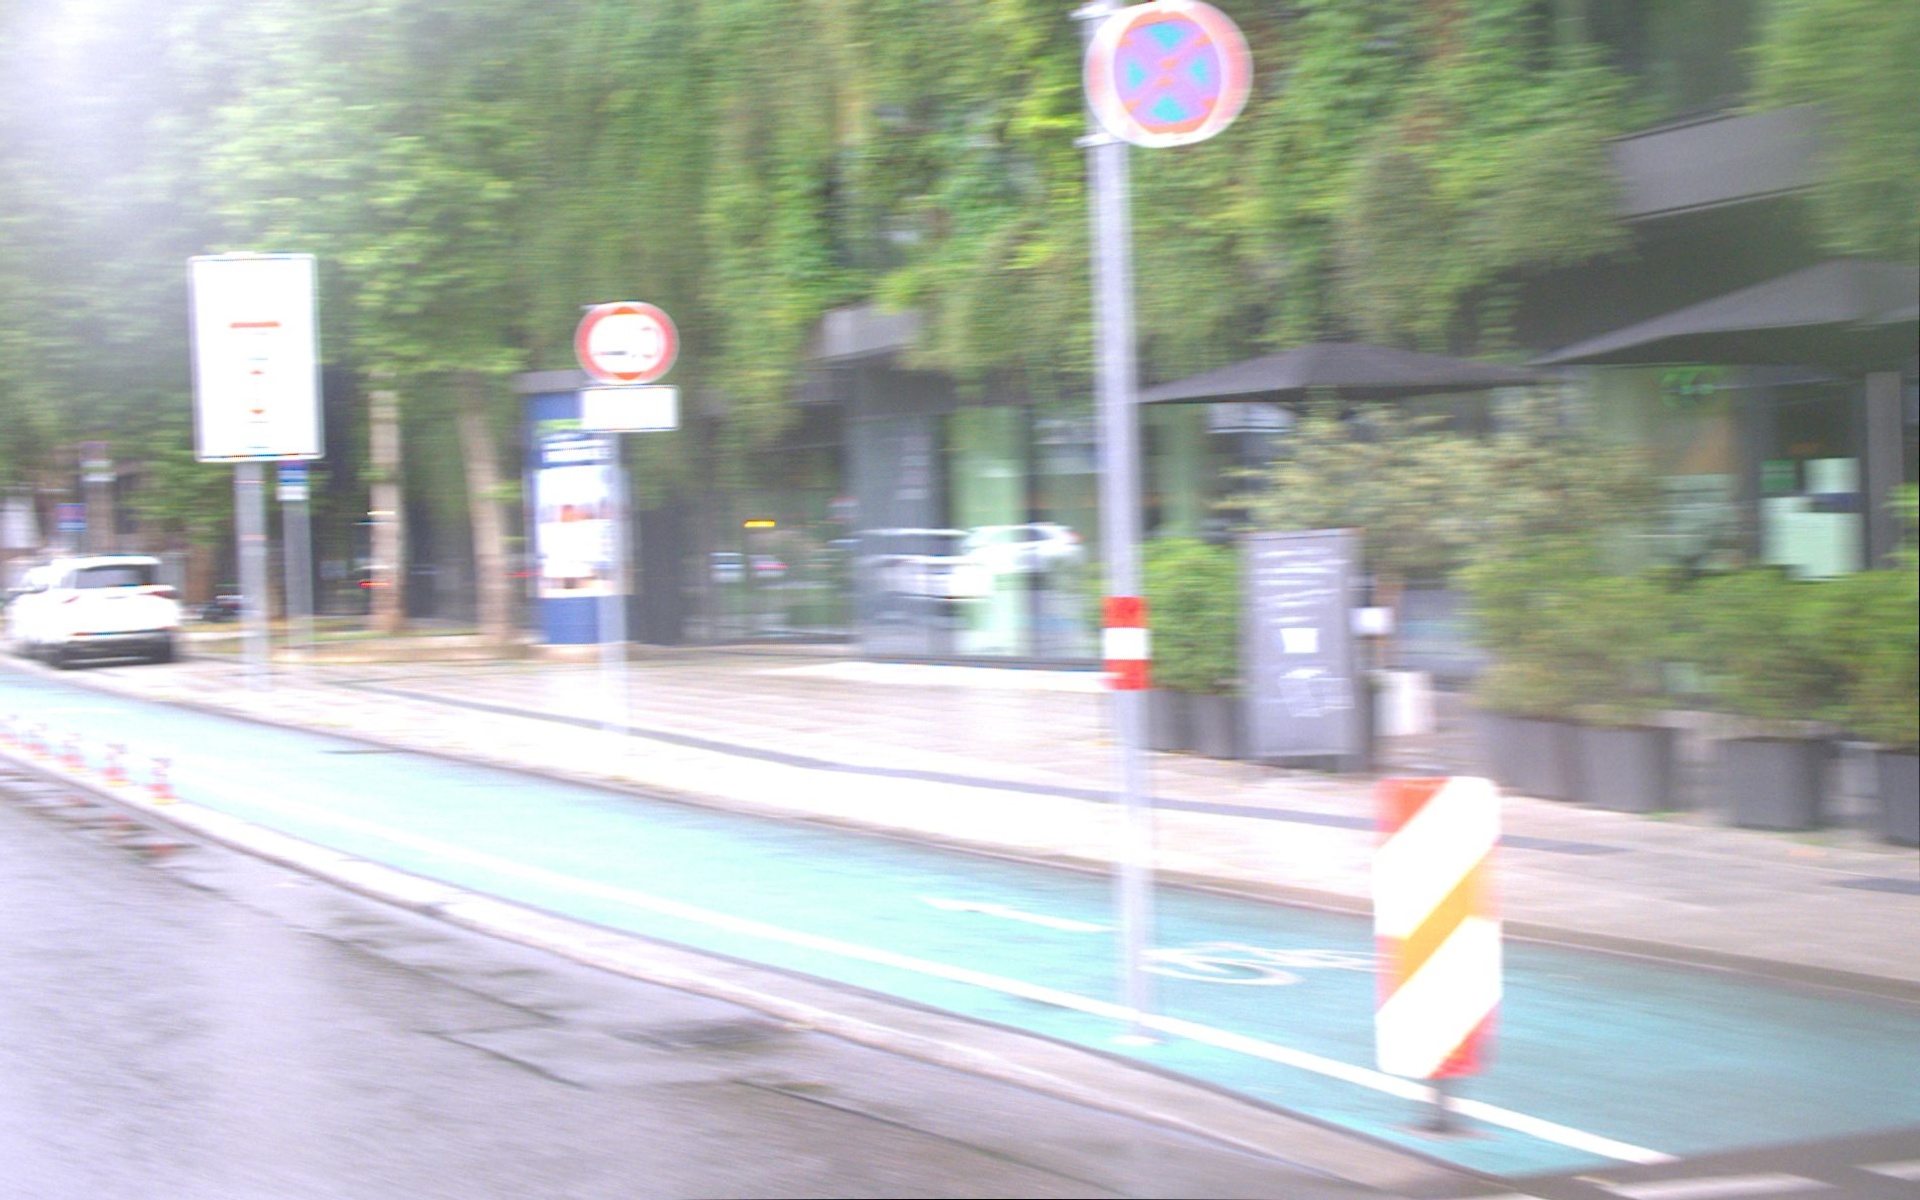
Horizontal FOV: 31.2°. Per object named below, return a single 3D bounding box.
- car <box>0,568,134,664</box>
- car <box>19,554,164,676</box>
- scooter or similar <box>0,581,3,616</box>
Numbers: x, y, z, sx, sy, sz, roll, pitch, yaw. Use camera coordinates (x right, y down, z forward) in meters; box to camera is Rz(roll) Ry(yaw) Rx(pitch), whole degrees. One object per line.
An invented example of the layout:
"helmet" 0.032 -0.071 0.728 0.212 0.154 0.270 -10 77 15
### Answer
"car" -16.075 0.253 61.714 1.843 1.627 4.788 -1 1 -21
"car" -14.149 0.201 55.817 1.843 1.832 5.095 -2 1 -18
"scooter or similar" -34.122 -0.056 120.859 0.381 1.224 1.078 -1 0 16
